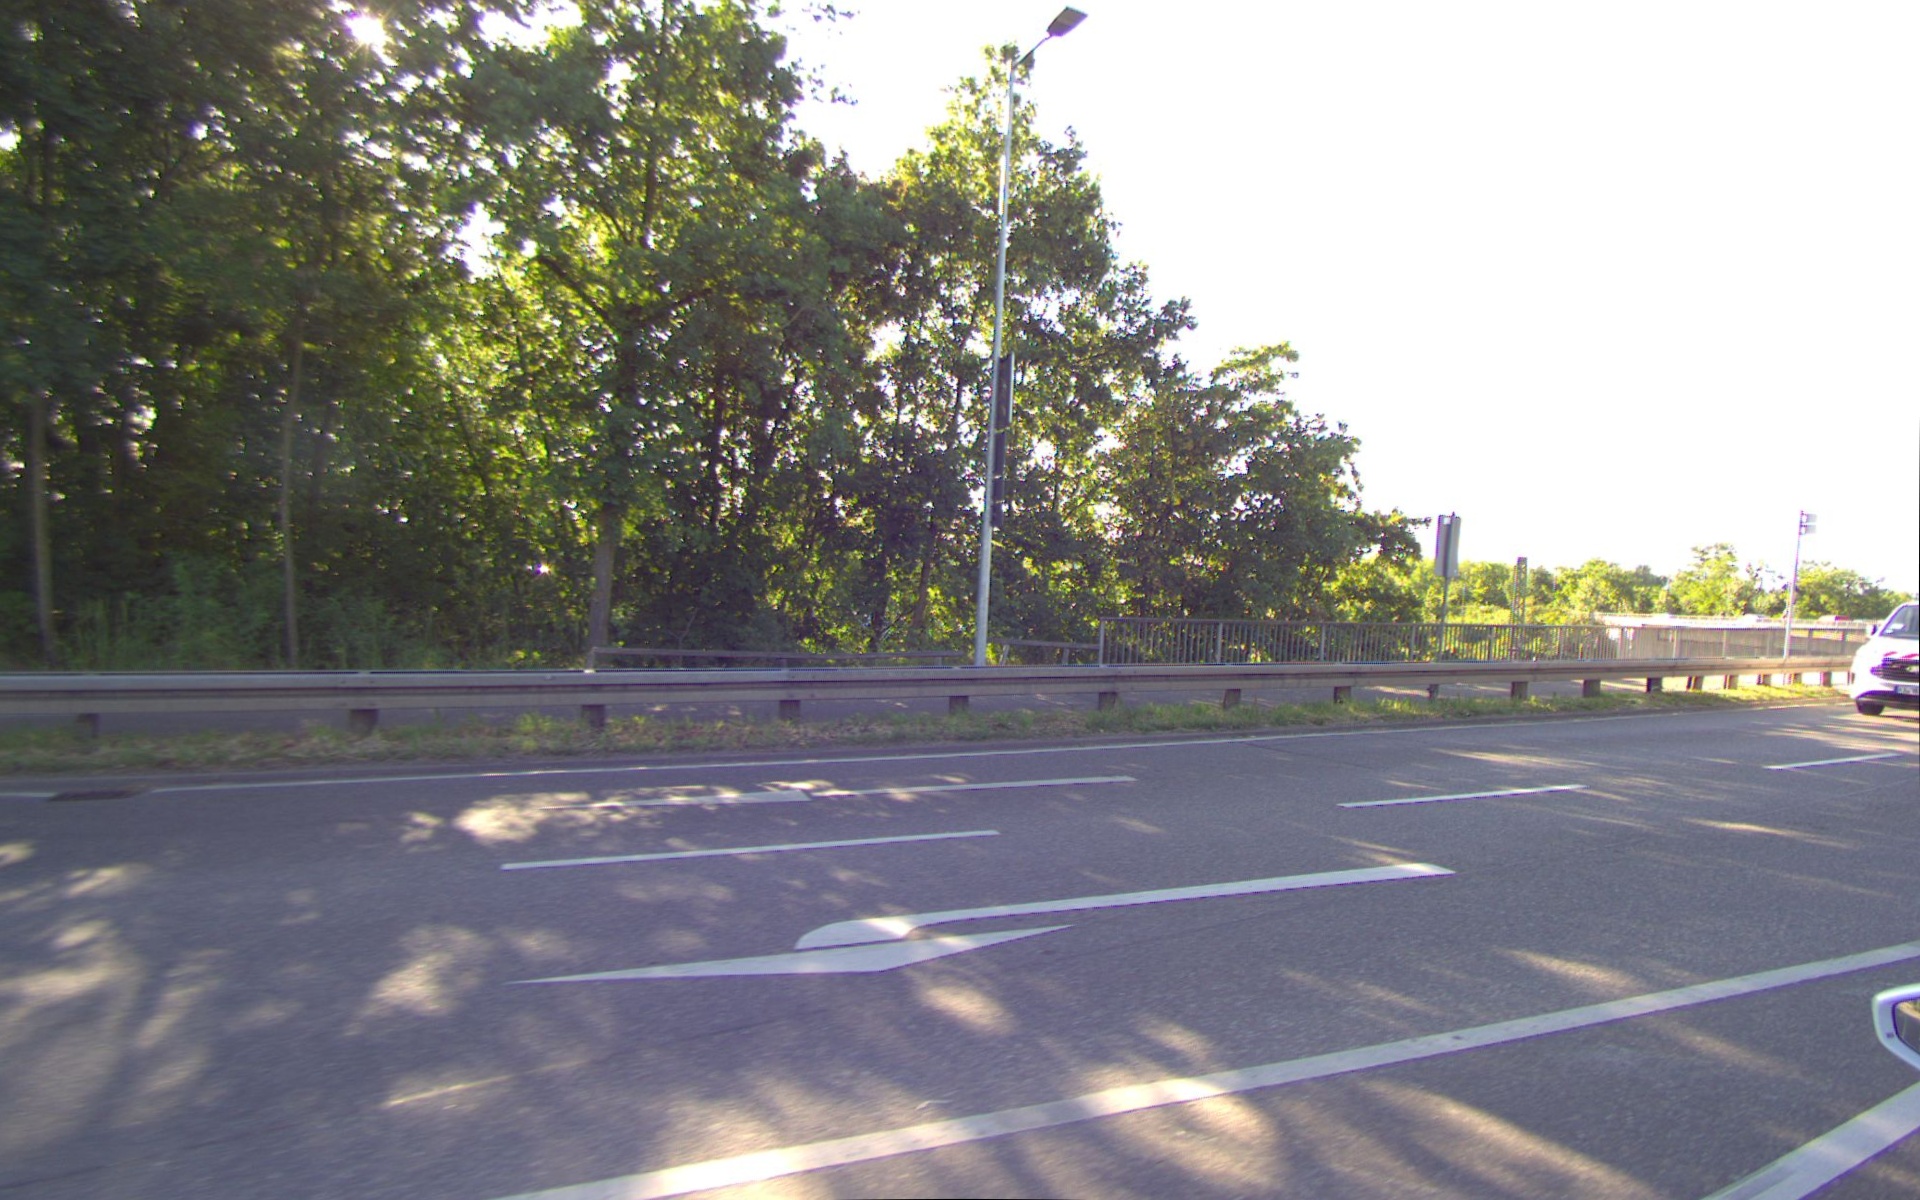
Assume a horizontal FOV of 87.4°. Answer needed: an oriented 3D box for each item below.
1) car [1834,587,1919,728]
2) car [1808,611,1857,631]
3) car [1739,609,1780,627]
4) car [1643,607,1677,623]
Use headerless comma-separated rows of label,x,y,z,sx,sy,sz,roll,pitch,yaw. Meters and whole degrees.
car,16.896,0.939,16.675,5.207,2.141,1.940,1,1,-30
car,90.259,2.141,103.969,1.923,1.976,4.002,2,1,10
car,92.827,2.084,116.672,1.923,1.976,4.002,2,1,8
car,94.075,1.947,134.991,1.923,1.976,4.001,2,1,3
